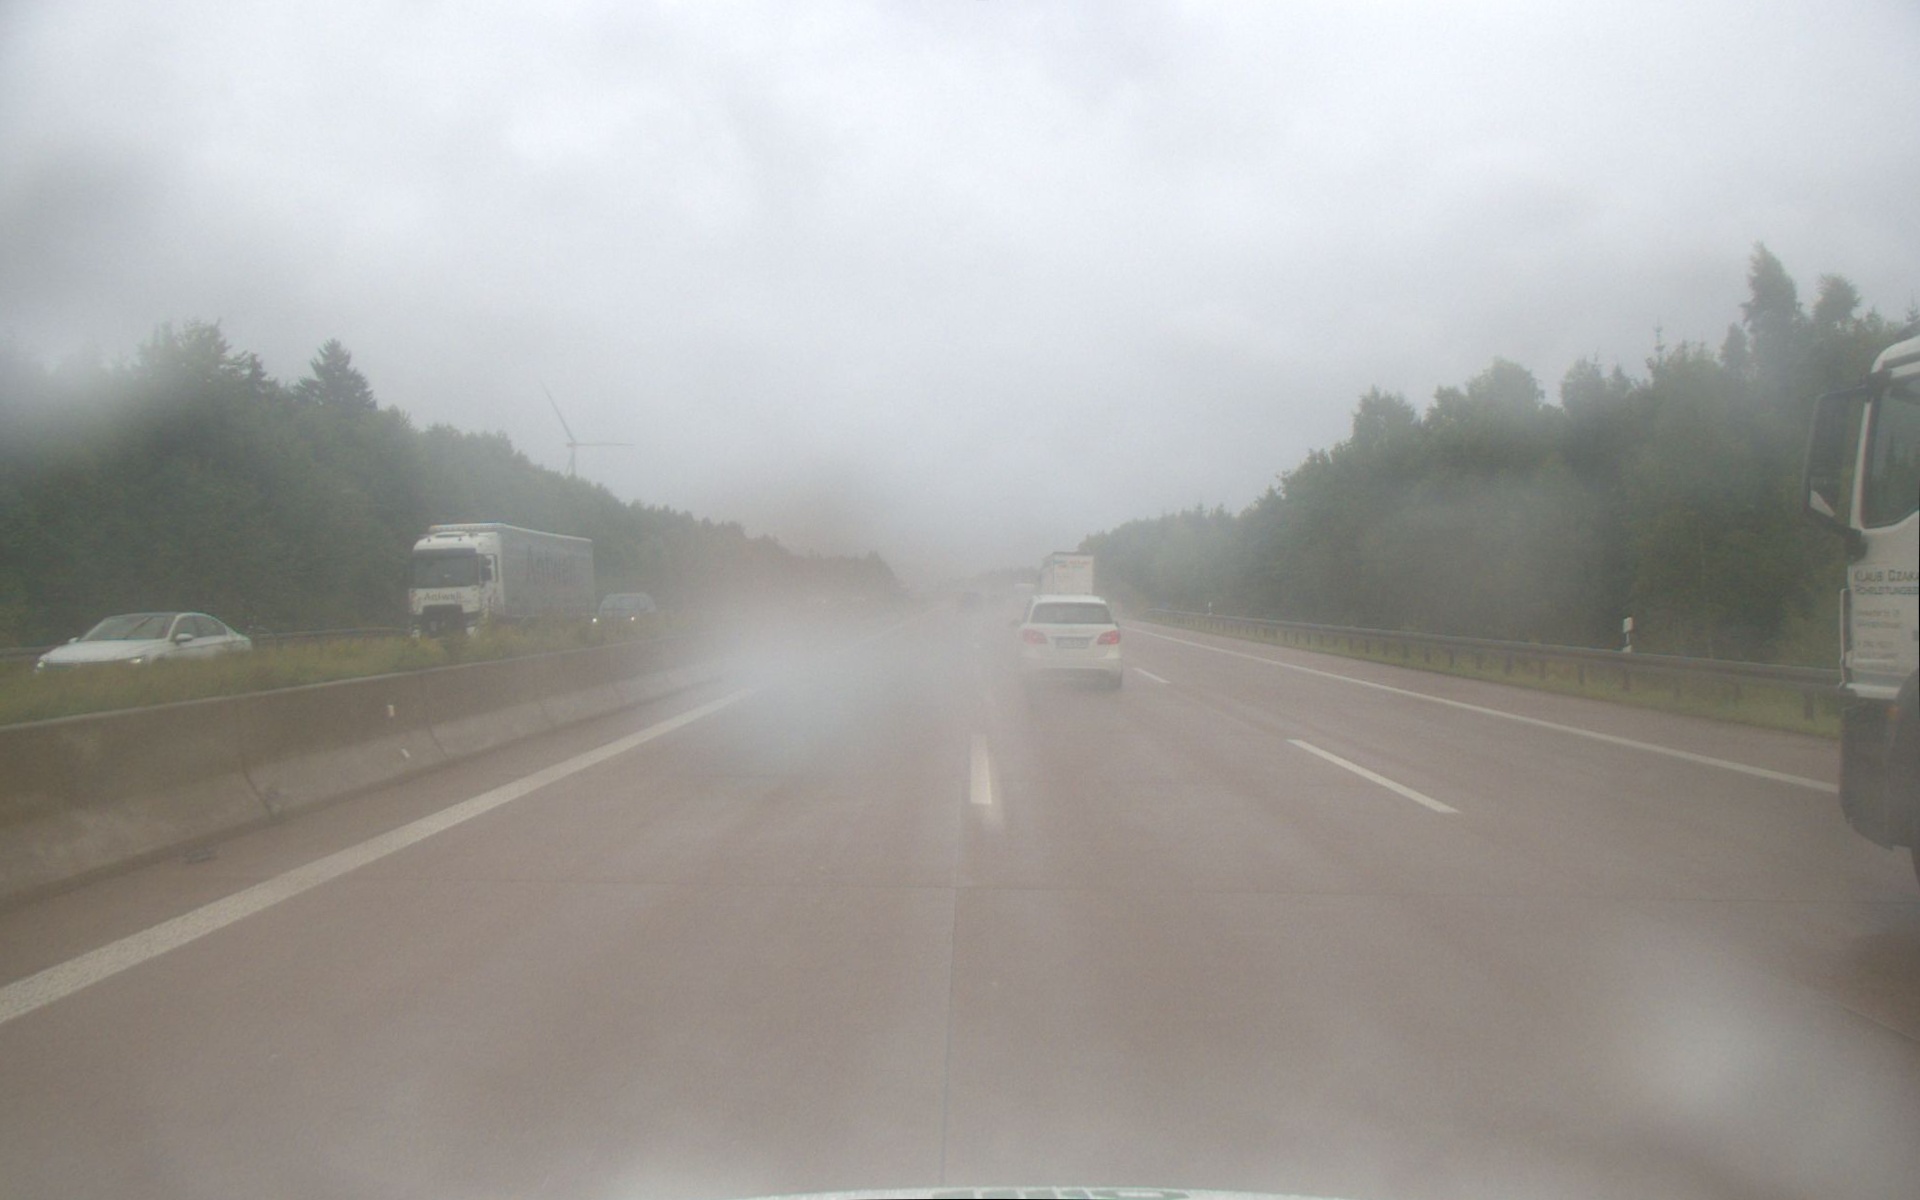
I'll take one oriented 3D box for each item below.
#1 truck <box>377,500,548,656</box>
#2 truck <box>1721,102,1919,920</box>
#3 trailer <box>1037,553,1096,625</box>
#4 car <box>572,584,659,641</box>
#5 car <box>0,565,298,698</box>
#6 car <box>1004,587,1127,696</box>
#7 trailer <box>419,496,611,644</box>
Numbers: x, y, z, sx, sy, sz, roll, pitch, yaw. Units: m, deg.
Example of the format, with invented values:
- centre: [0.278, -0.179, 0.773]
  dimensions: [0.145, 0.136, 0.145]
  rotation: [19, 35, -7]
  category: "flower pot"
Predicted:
- centre: [-16.874, -0.681, 56.704]
  dimensions: [3.604, 4.956, 7.254]
  rotation: [1, 0, 0]
  category: "truck"
- centre: [6.023, -0.390, 5.657]
  dimensions: [3.168, 3.795, 7.954]
  rotation: [1, 0, 0]
  category: "truck"
- centre: [6.752, -0.725, 106.829]
  dimensions: [2.794, 4.305, 13.131]
  rotation: [-1, 1, 0]
  category: "trailer"
- centre: [-13.063, 0.451, 63.010]
  dimensions: [2.259, 2.049, 5.151]
  rotation: [1, 0, -1]
  category: "car"
- centre: [-13.529, 0.469, 28.106]
  dimensions: [2.259, 2.012, 5.755]
  rotation: [1, 0, -1]
  category: "car"
- centre: [1.799, 0.679, 29.569]
  dimensions: [1.771, 1.758, 4.742]
  rotation: [1, 0, -1]
  category: "car"
- centre: [-16.845, -1.072, 64.043]
  dimensions: [3.678, 5.039, 13.680]
  rotation: [1, 0, 0]
  category: "trailer"
